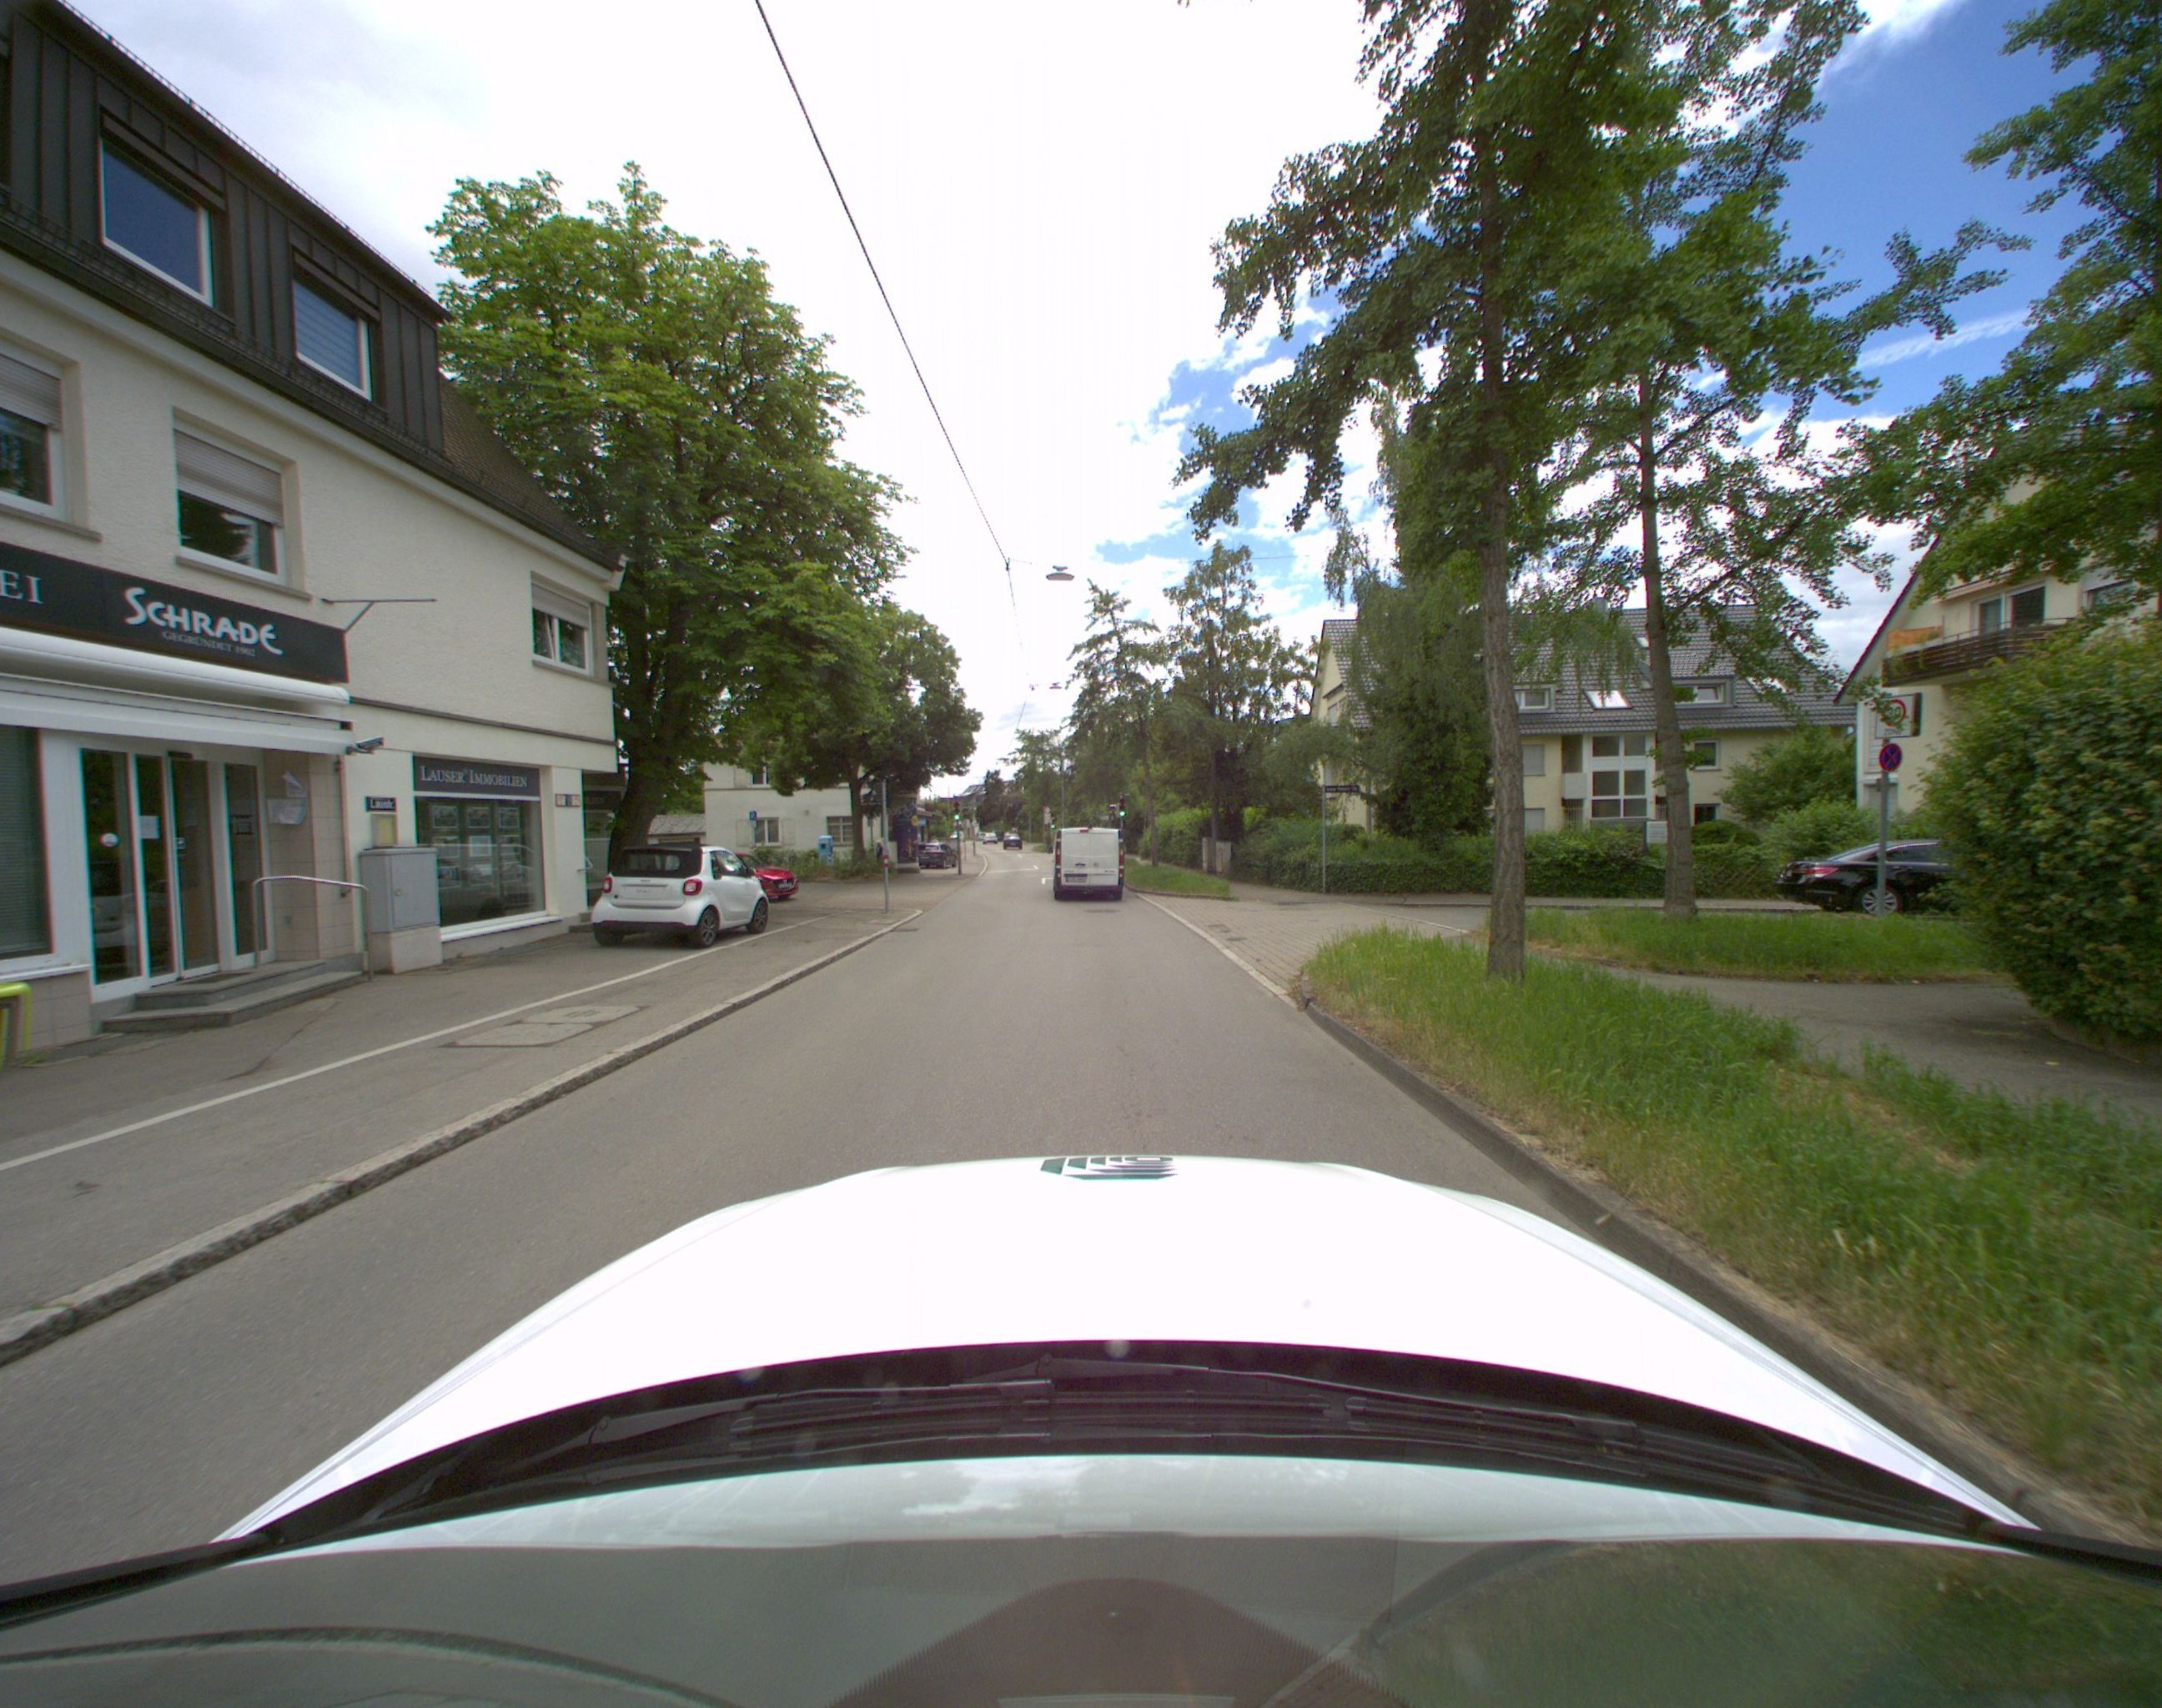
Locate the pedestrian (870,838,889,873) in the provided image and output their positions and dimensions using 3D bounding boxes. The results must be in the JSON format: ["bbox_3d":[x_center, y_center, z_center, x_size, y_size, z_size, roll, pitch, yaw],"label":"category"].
[{"bbox_3d":[-9.637,0.069,39.051,0.695,1.616,0.715,-1,2,1],"label":"pedestrian"}]

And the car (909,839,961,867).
[{"bbox_3d":[-8.147,-0.075,45.845,1.771,1.441,4.531,1,1,4],"label":"car"}]

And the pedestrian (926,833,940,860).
[{"bbox_3d":[-9.618,-0.471,52.907,0.882,1.750,0.960,1,1,-10],"label":"pedestrian"}]

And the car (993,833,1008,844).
[{"bbox_3d":[-13.240,-2.550,133.652,1.895,1.611,4.483,-1,1,-11],"label":"car"}]

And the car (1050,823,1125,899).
[{"bbox_3d":[0.090,0.144,23.392,1.925,1.964,4.398,-1,1,-3],"label":"car"}]

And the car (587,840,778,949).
[{"bbox_3d":[-6.313,0.558,13.259,1.583,1.538,2.925,1,1,1],"label":"car"}]

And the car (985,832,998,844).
[{"bbox_3d":[-13.137,-2.412,119.748,1.824,1.727,3.990,-1,1,-8],"label":"car"}]

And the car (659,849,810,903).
[{"bbox_3d":[-10.520,0.633,24.711,4.180,1.432,1.828,-1,4,26],"label":"car"}]

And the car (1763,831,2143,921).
[{"bbox_3d":[15.697,0.379,15.052,4.406,1.464,1.880,0,-1,25],"label":"car"}]

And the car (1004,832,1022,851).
[{"bbox_3d":[-7.169,-1.331,85.708,1.894,1.859,4.396,-1,1,-5],"label":"car"}]
